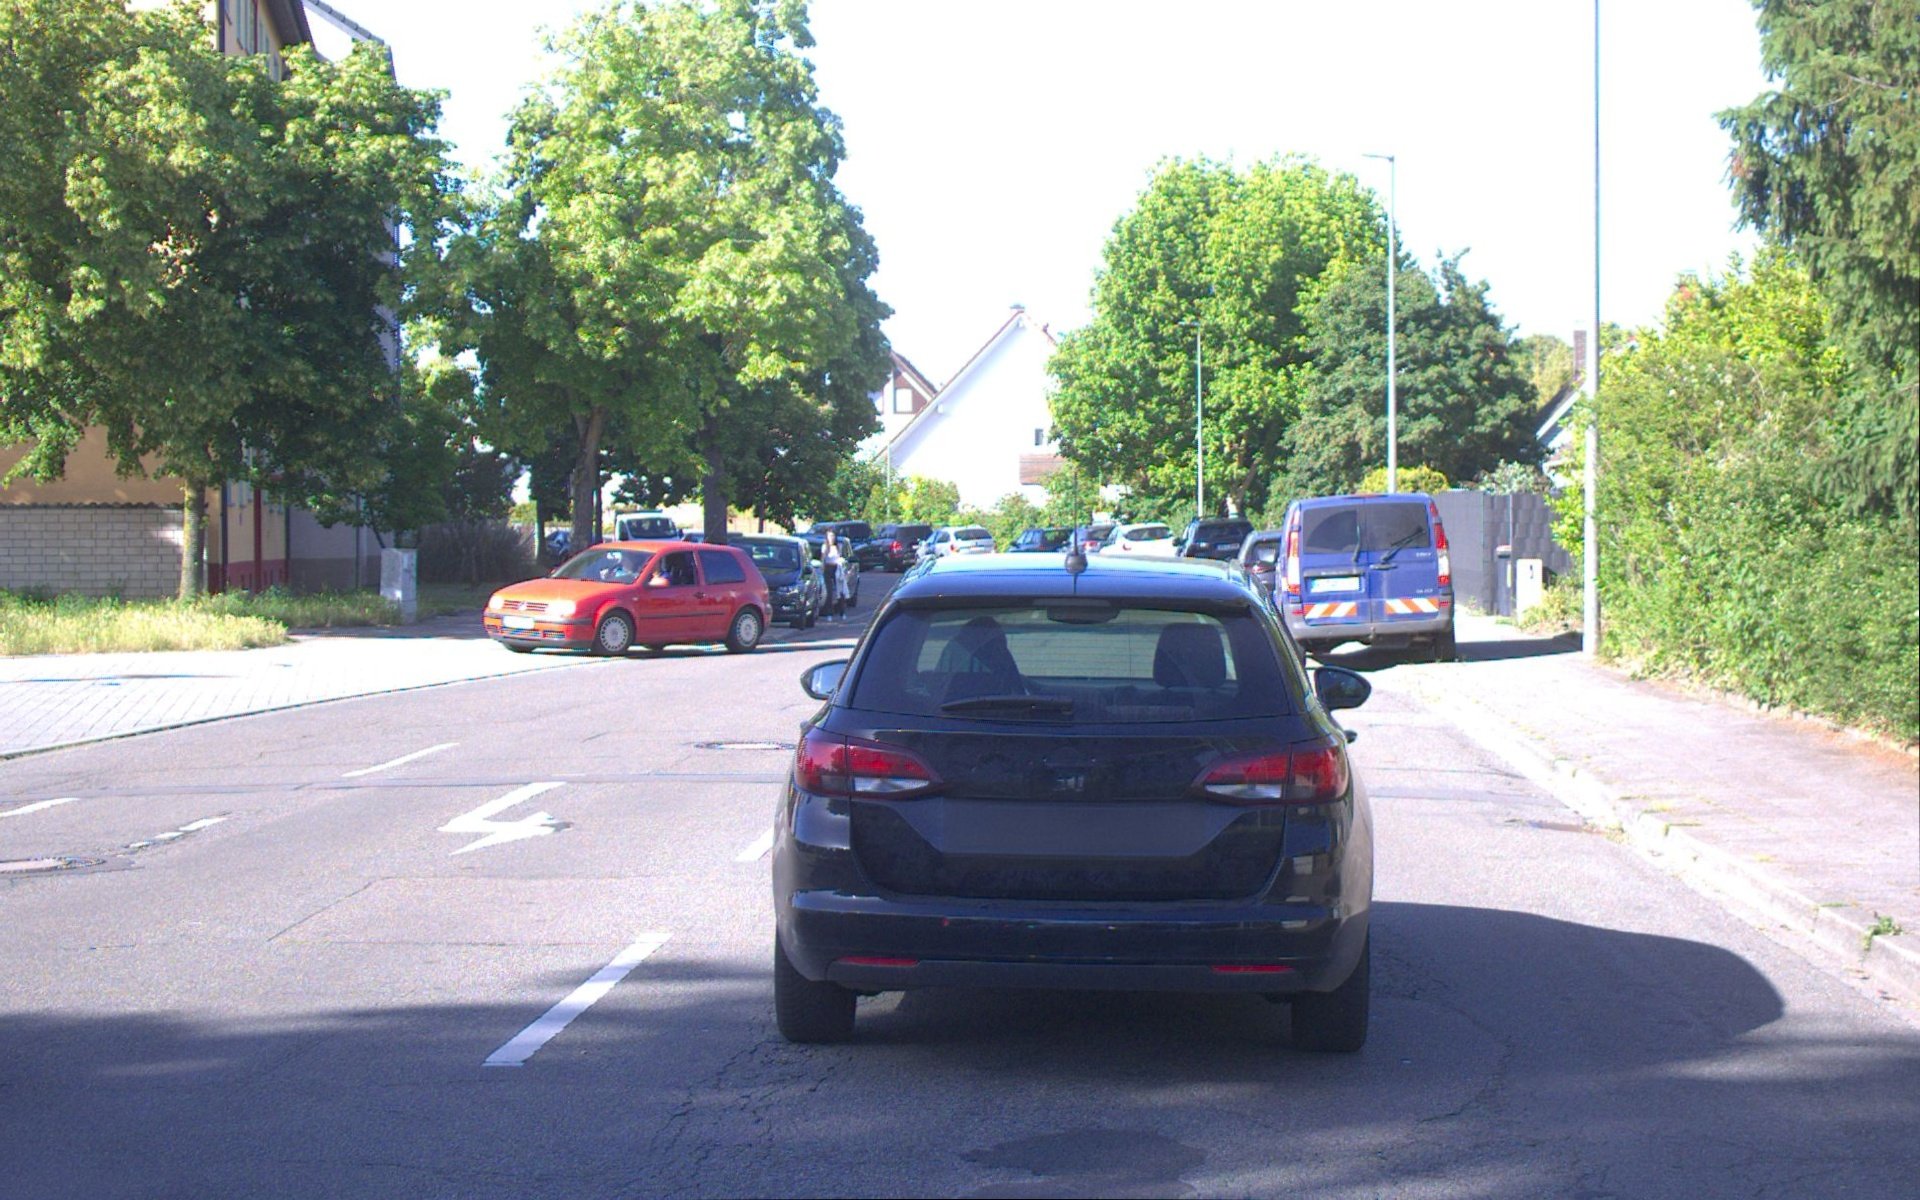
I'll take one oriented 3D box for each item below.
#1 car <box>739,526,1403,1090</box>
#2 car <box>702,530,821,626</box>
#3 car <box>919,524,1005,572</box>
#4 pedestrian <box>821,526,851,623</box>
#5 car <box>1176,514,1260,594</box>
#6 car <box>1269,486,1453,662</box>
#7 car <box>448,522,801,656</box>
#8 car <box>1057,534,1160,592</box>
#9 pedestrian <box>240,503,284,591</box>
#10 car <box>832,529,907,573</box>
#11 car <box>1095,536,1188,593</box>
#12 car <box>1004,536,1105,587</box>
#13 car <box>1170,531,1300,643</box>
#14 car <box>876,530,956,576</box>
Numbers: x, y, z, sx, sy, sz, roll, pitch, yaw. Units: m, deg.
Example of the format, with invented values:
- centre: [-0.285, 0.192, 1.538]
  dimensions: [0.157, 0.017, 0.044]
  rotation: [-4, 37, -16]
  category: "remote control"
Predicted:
- centre: [0.399, 0.533, 11.374]
  dimensions: [1.762, 1.486, 4.290]
  rotation: [1, 1, 3]
  category: "car"
- centre: [-3.226, -0.342, 56.449]
  dimensions: [1.700, 1.475, 4.052]
  rotation: [2, 0, 0]
  category: "car"
- centre: [0.043, -1.684, 112.375]
  dimensions: [1.819, 1.529, 4.260]
  rotation: [-1, 1, -14]
  category: "car"
- centre: [-2.260, -0.465, 62.865]
  dimensions: [0.504, 1.755, 0.695]
  rotation: [-1, -1, -1]
  category: "pedestrian"
- centre: [5.762, -1.031, 77.198]
  dimensions: [1.778, 1.718, 4.294]
  rotation: [-1, 1, 3]
  category: "car"
- centre: [4.542, -0.331, 39.521]
  dimensions: [1.837, 1.901, 4.697]
  rotation: [0, 1, 4]
  category: "car"
- centre: [-4.190, -0.187, 43.524]
  dimensions: [2.016, 1.563, 4.384]
  rotation: [2, 2, 36]
  category: "car"
- centre: [4.204, -1.049, 97.830]
  dimensions: [1.911, 1.595, 4.295]
  rotation: [-1, 1, -12]
  category: "car"
- centre: [-13.757, -1.045, 67.774]
  dimensions: [0.685, 1.712, 0.720]
  rotation: [-1, -1, 3]
  category: "pedestrian"
- centre: [-3.285, -1.737, 123.447]
  dimensions: [1.819, 1.529, 4.260]
  rotation: [-1, 1, -14]
  category: "car"
- centre: [4.893, -0.966, 93.232]
  dimensions: [1.760, 1.475, 4.295]
  rotation: [-1, 1, -7]
  category: "car"
- centre: [2.801, -1.150, 103.293]
  dimensions: [2.005, 1.470, 4.295]
  rotation: [-1, 1, -13]
  category: "car"
- centre: [3.975, -0.224, 50.328]
  dimensions: [1.765, 1.475, 4.991]
  rotation: [-1, 1, 4]
  category: "car"
- centre: [-1.539, -1.590, 117.673]
  dimensions: [1.819, 1.529, 4.260]
  rotation: [-1, 1, -14]
  category: "car"
